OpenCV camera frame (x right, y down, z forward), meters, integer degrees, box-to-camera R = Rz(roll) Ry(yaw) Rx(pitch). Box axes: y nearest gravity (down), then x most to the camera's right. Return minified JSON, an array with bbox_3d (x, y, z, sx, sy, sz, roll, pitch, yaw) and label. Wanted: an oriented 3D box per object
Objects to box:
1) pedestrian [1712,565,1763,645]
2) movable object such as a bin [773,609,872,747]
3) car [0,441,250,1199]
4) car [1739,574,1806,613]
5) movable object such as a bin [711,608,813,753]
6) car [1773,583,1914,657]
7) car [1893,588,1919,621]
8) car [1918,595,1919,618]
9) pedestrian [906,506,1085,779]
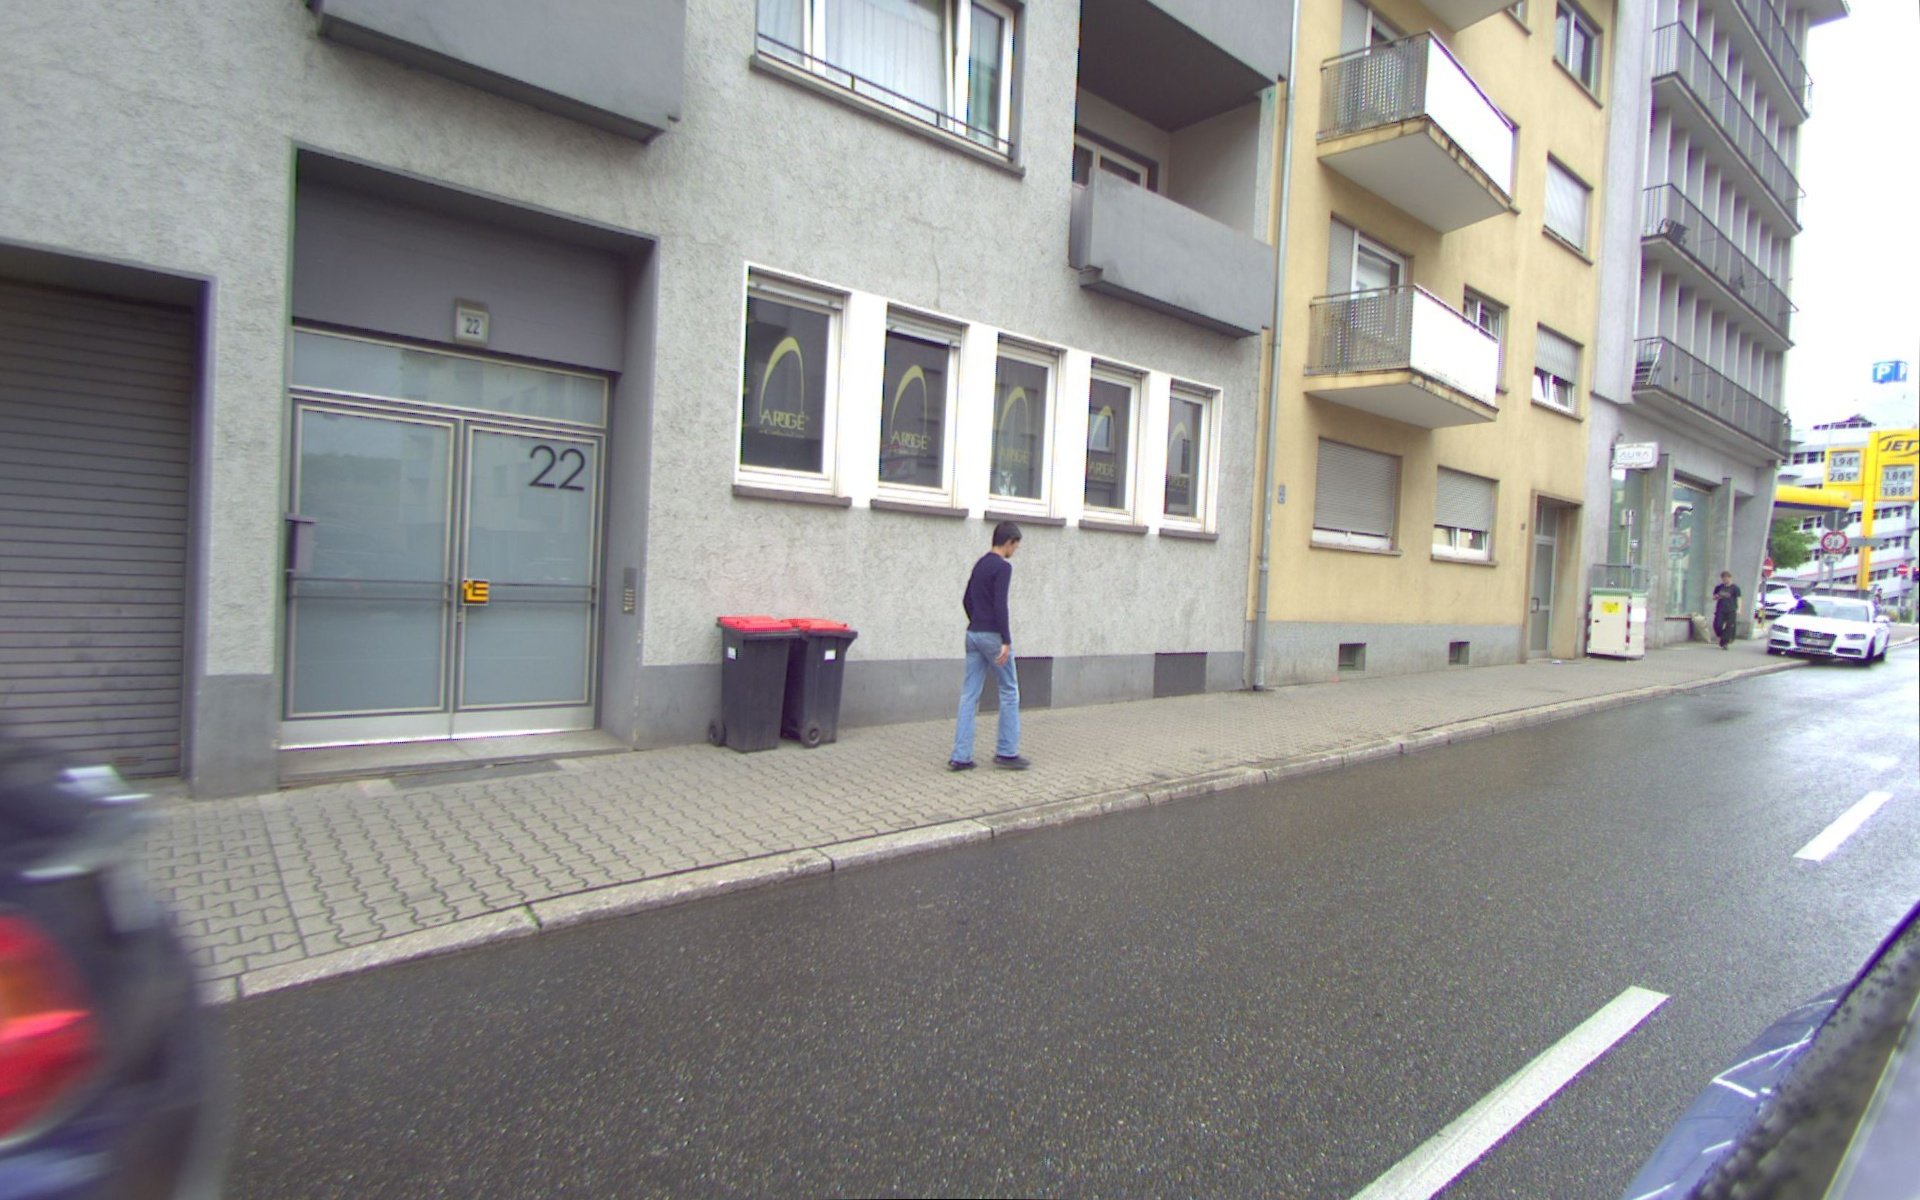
[{"bbox_3d":[17.869,0.103,23.249,0.872,1.777,0.679,0,2,-39],"label":"pedestrian"},{"bbox_3d":[-1.061,0.576,7.796,0.506,0.961,0.541,0,5,-40],"label":"movable object such as a bin"},{"bbox_3d":[-2.897,0.617,0.587,3.930,1.600,1.770,0,2,-41],"label":"car"},{"bbox_3d":[32.658,-0.258,40.640,1.766,1.493,3.937,0,0,44],"label":"car"},{"bbox_3d":[-1.465,0.570,7.457,0.506,0.967,0.541,0,5,-40],"label":"movable object such as a bin"},{"bbox_3d":[20.132,0.393,23.014,4.093,1.453,1.803,0,4,-41],"label":"car"},{"bbox_3d":[53.836,0.329,55.139,1.960,1.782,4.005,1,3,-31],"label":"car"},{"bbox_3d":[64.763,0.559,65.224,3.962,1.526,1.722,3,3,27],"label":"car"},{"bbox_3d":[0.262,0.264,7.283,1.038,1.799,0.644,0,5,-41],"label":"pedestrian"}]
